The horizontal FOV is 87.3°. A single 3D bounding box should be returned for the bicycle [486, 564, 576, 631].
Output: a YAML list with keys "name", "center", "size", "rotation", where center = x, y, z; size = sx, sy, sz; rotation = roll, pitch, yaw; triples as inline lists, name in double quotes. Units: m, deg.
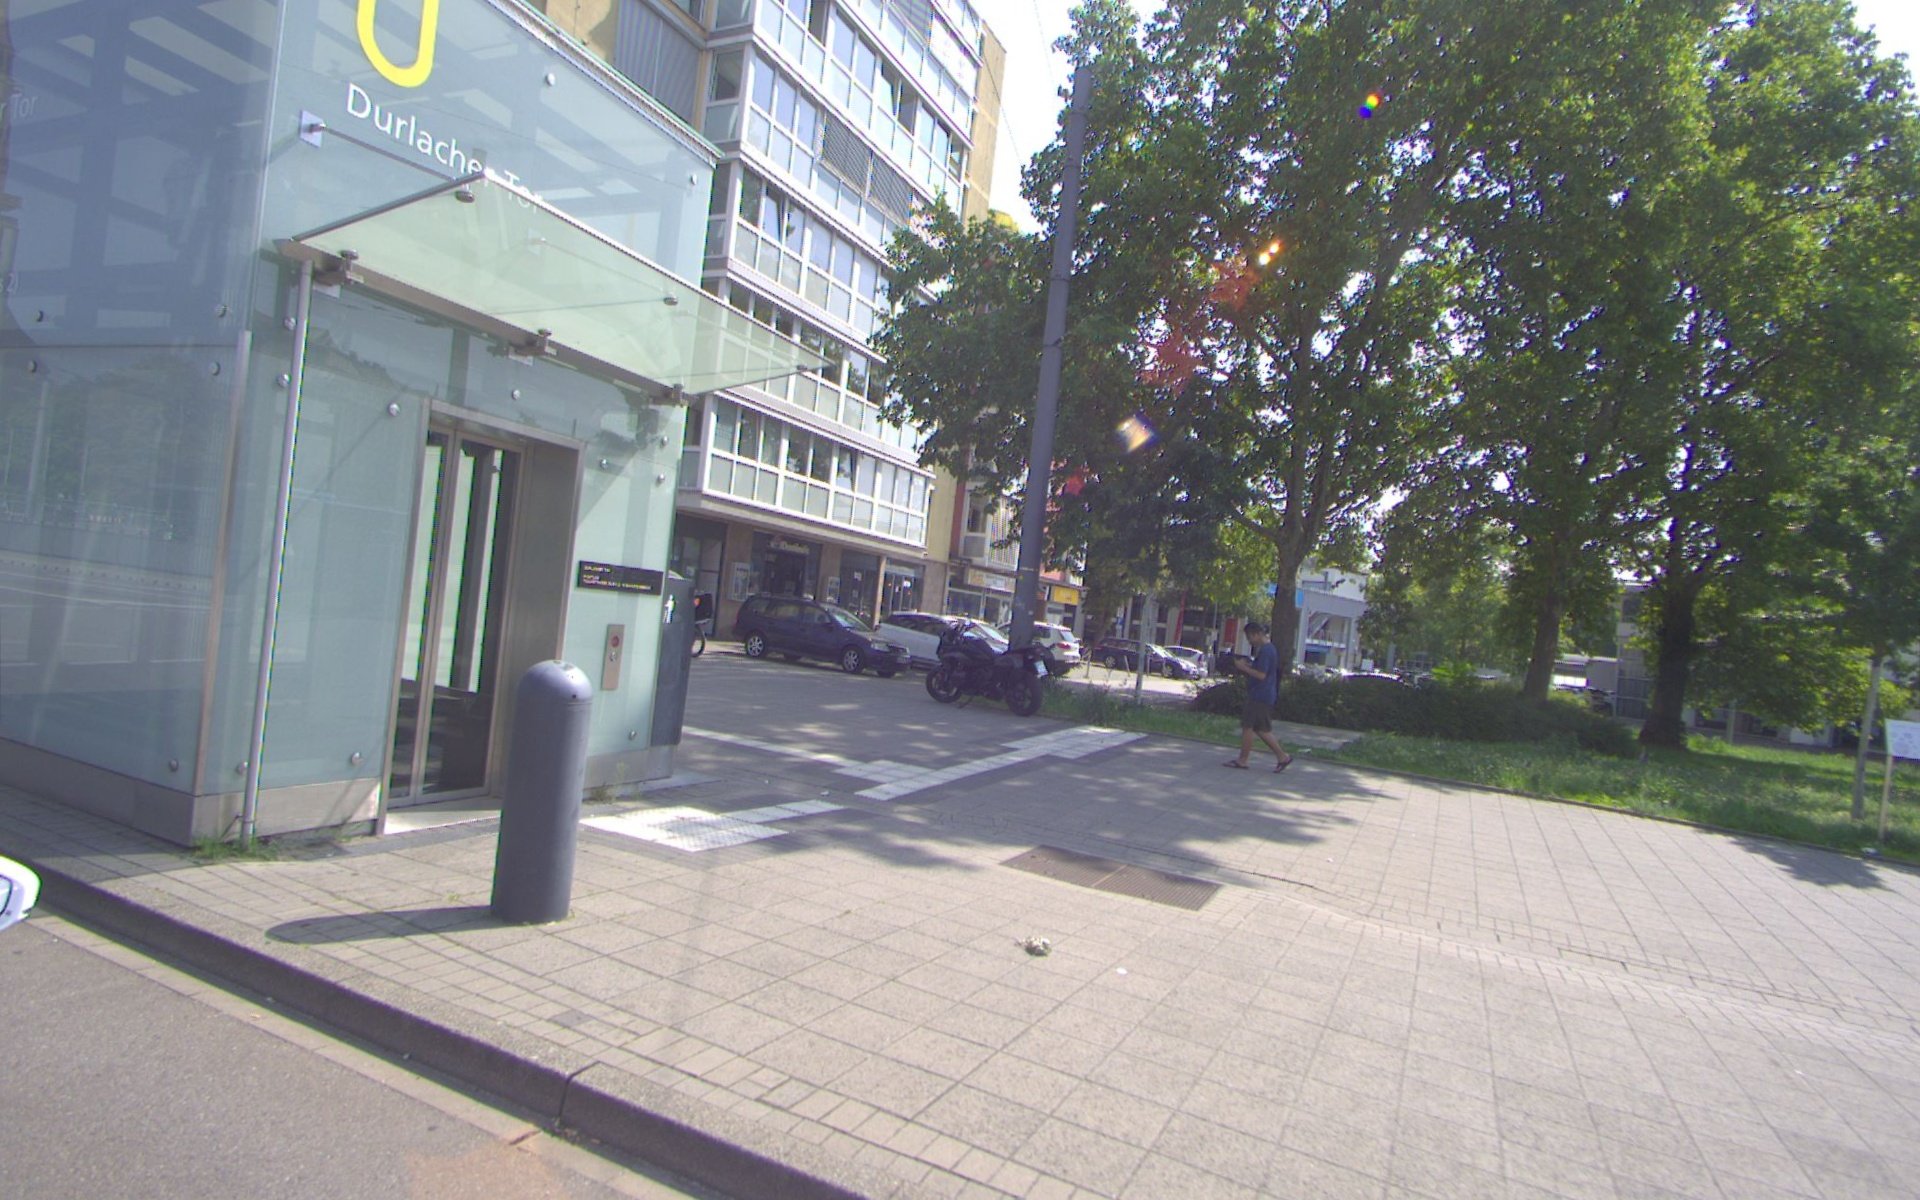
- name: "bicycle"
  center: [-8.766, -0.019, 20.627]
  size: [0.578, 1.221, 1.727]
  rotation: [6, 0, 20]

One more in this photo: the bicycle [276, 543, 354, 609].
- name: "bicycle"
  center: [-14.090, -0.537, 21.961]
  size: [1.794, 1.254, 0.409]
  rotation: [7, 0, 24]

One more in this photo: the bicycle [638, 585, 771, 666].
- name: "bicycle"
  center: [-4.845, 0.472, 18.998]
  size: [2.392, 1.254, 0.794]
  rotation: [6, 0, 27]

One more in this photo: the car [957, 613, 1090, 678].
- name: "car"
  center: [2.148, 1.523, 34.081]
  size: [4.000, 1.686, 1.790]
  rotation: [6, 0, 24]

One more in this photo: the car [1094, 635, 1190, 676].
- name: "car"
  center: [8.577, 2.623, 47.434]
  size: [4.000, 1.414, 1.790]
  rotation: [6, 0, 24]

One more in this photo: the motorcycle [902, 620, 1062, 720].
- name: "motorcycle"
  center: [0.287, 0.984, 14.417]
  size: [2.082, 1.151, 0.909]
  rotation: [6, 0, 39]

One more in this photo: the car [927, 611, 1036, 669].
- name: "car"
  center: [0.682, 1.271, 32.028]
  size: [3.042, 1.446, 1.403]
  rotation: [6, 0, 24]

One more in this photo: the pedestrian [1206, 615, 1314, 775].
- name: "pedestrian"
  center: [3.380, 1.039, 11.313]
  size: [0.932, 1.629, 0.793]
  rotation: [6, 0, 24]

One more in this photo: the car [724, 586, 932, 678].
- name: "car"
  center: [-2.996, 0.727, 22.861]
  size: [4.170, 1.486, 1.907]
  rotation: [6, -3, 24]

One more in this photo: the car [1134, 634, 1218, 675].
- name: "car"
  center: [11.648, 2.923, 54.183]
  size: [4.000, 1.686, 1.790]
  rotation: [6, 0, 24]

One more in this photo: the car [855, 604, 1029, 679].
- name: "car"
  center: [-0.490, 1.119, 27.233]
  size: [4.170, 1.488, 1.905]
  rotation: [6, 0, 24]

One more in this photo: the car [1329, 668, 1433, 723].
- name: "car"
  center: [15.242, 3.422, 36.429]
  size: [3.234, 1.479, 1.613]
  rotation: [6, 0, 27]

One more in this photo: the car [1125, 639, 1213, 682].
- name: "car"
  center: [10.812, 3.110, 52.010]
  size: [4.000, 1.686, 1.790]
  rotation: [6, 0, 24]

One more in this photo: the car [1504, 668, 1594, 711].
- name: "car"
  center: [32.750, 4.973, 55.976]
  size: [4.192, 1.775, 1.711]
  rotation: [7, 0, -14]
